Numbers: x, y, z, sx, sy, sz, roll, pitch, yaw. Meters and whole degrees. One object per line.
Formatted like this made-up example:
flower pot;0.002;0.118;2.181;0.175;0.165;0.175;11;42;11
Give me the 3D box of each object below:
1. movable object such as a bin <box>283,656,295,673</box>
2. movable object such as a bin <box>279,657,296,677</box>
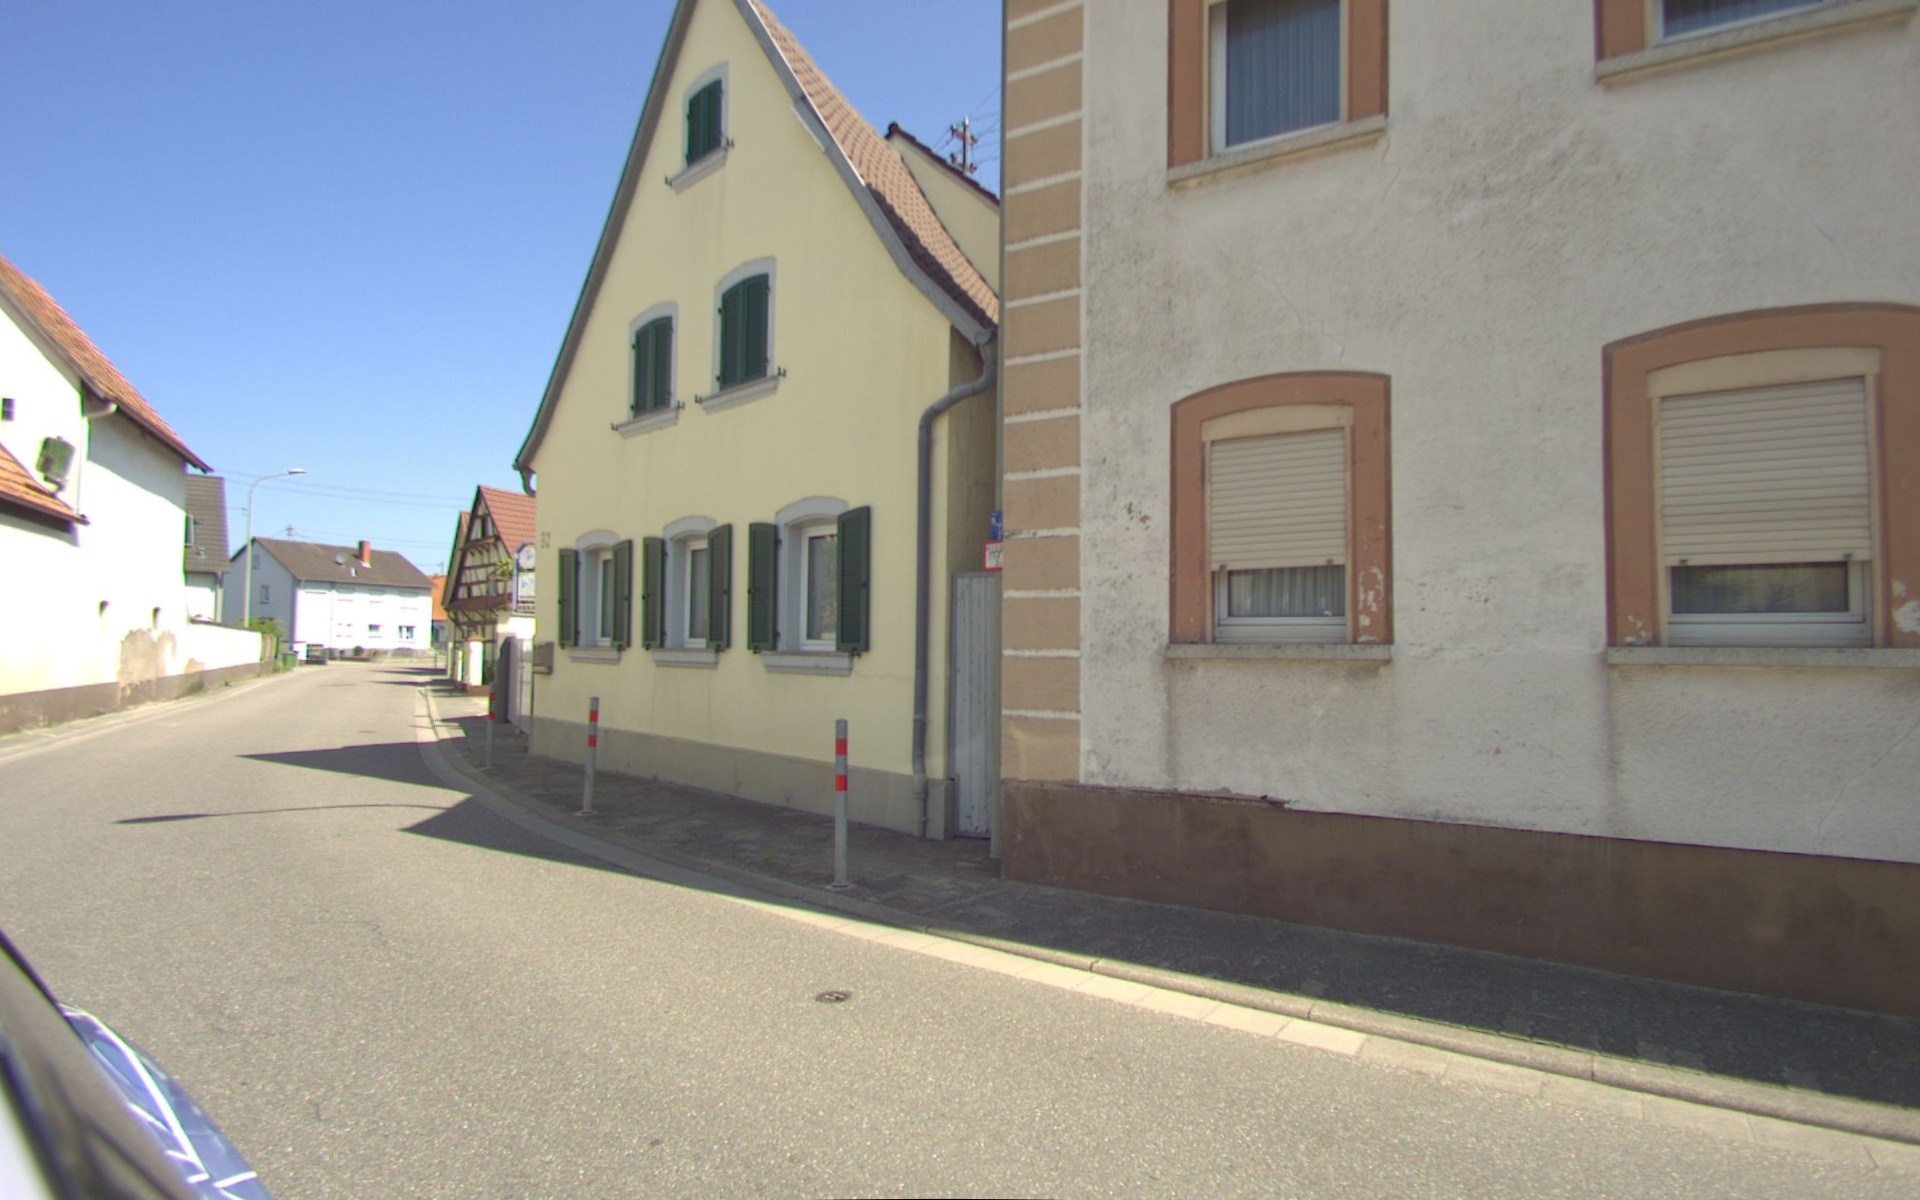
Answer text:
movable object such as a bin;-39.001;3.769;58.843;0.497;0.984;0.434;2;-3;-29
movable object such as a bin;-33.165;3.302;49.927;0.432;0.984;0.545;-1;-4;36
